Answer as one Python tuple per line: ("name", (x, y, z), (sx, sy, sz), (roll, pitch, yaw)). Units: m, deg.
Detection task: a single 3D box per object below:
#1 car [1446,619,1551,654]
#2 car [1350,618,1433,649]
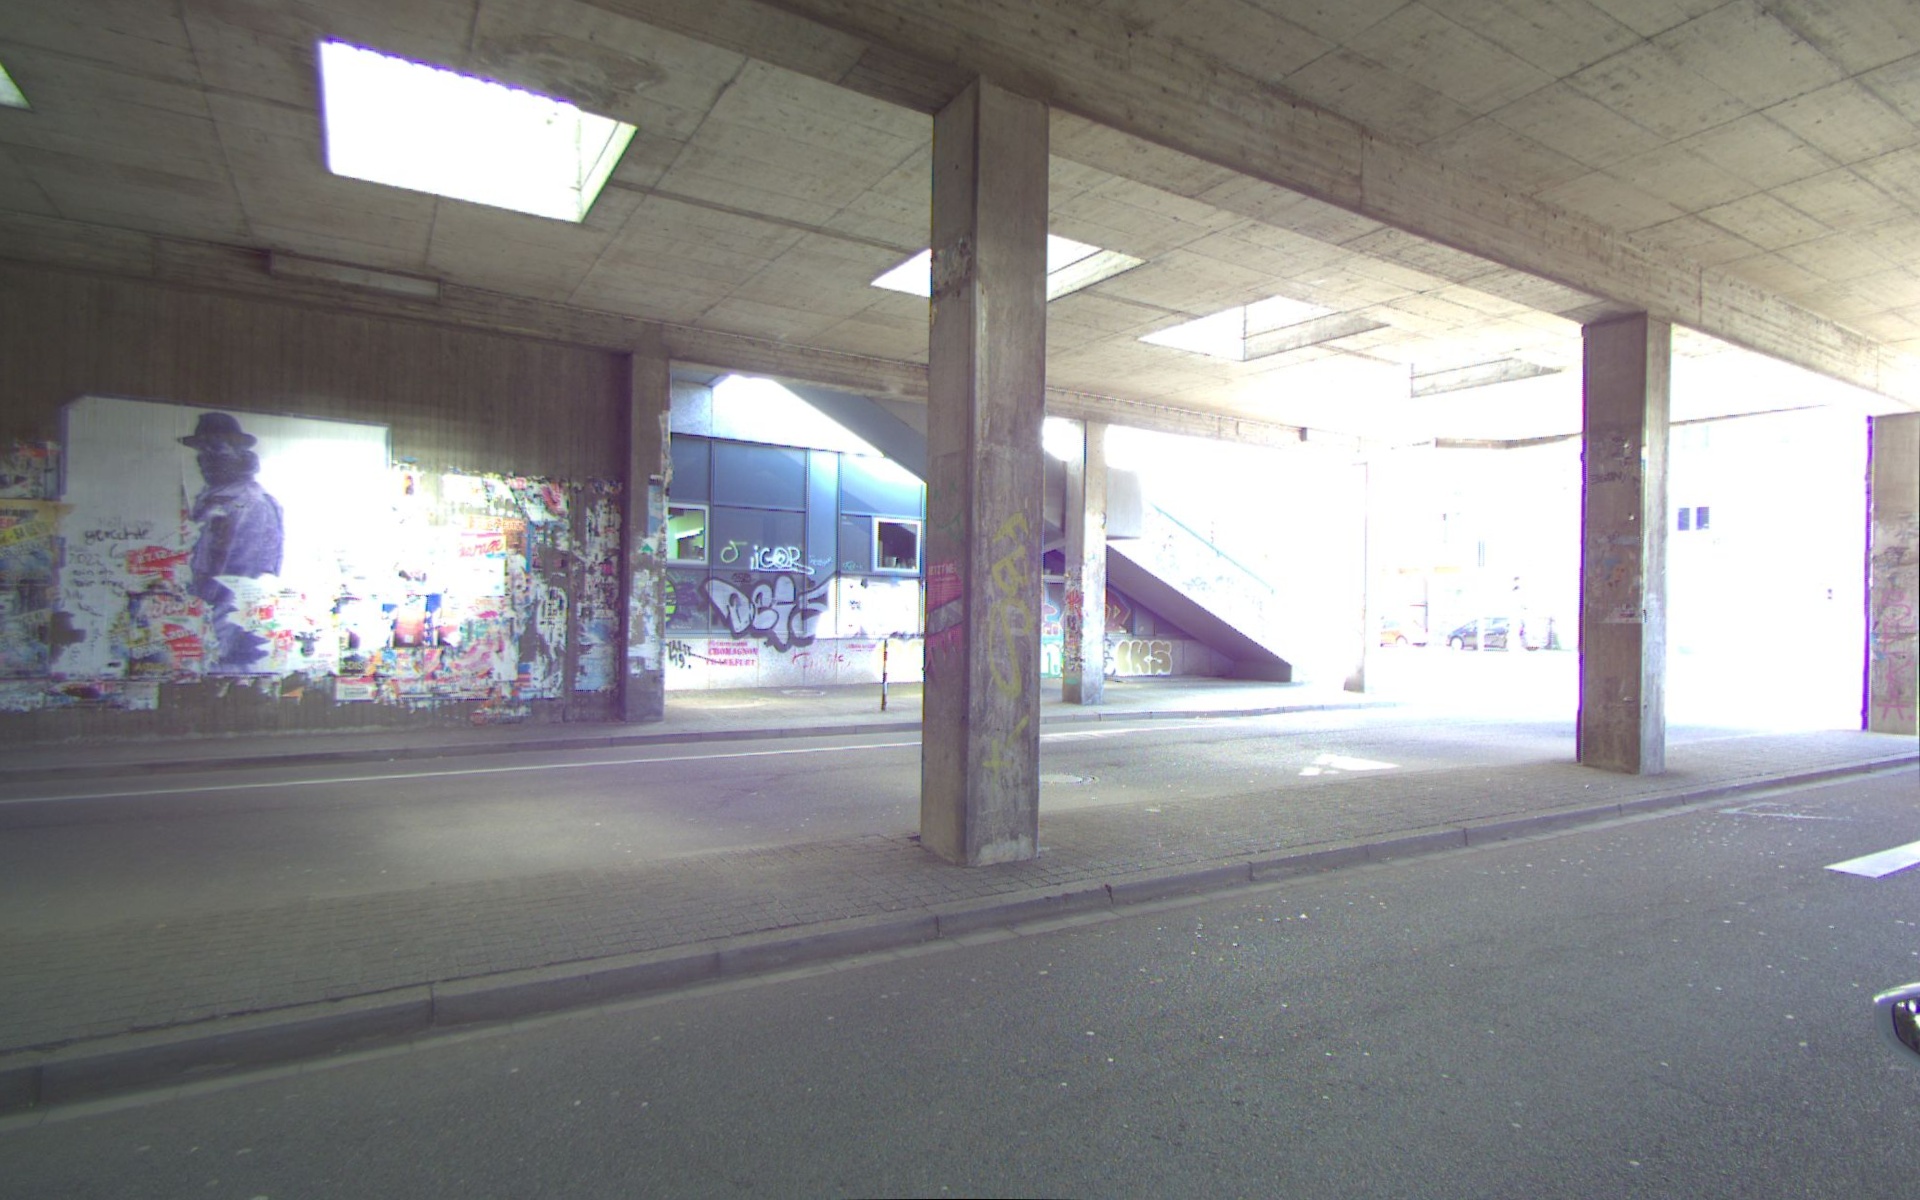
("car", (25.465, 1.711, 47.653), (1.718, 1.495, 4.089), (2, -1, -31))
("car", (22.553, 1.728, 52.608), (1.730, 1.495, 3.741), (2, -1, -31))
